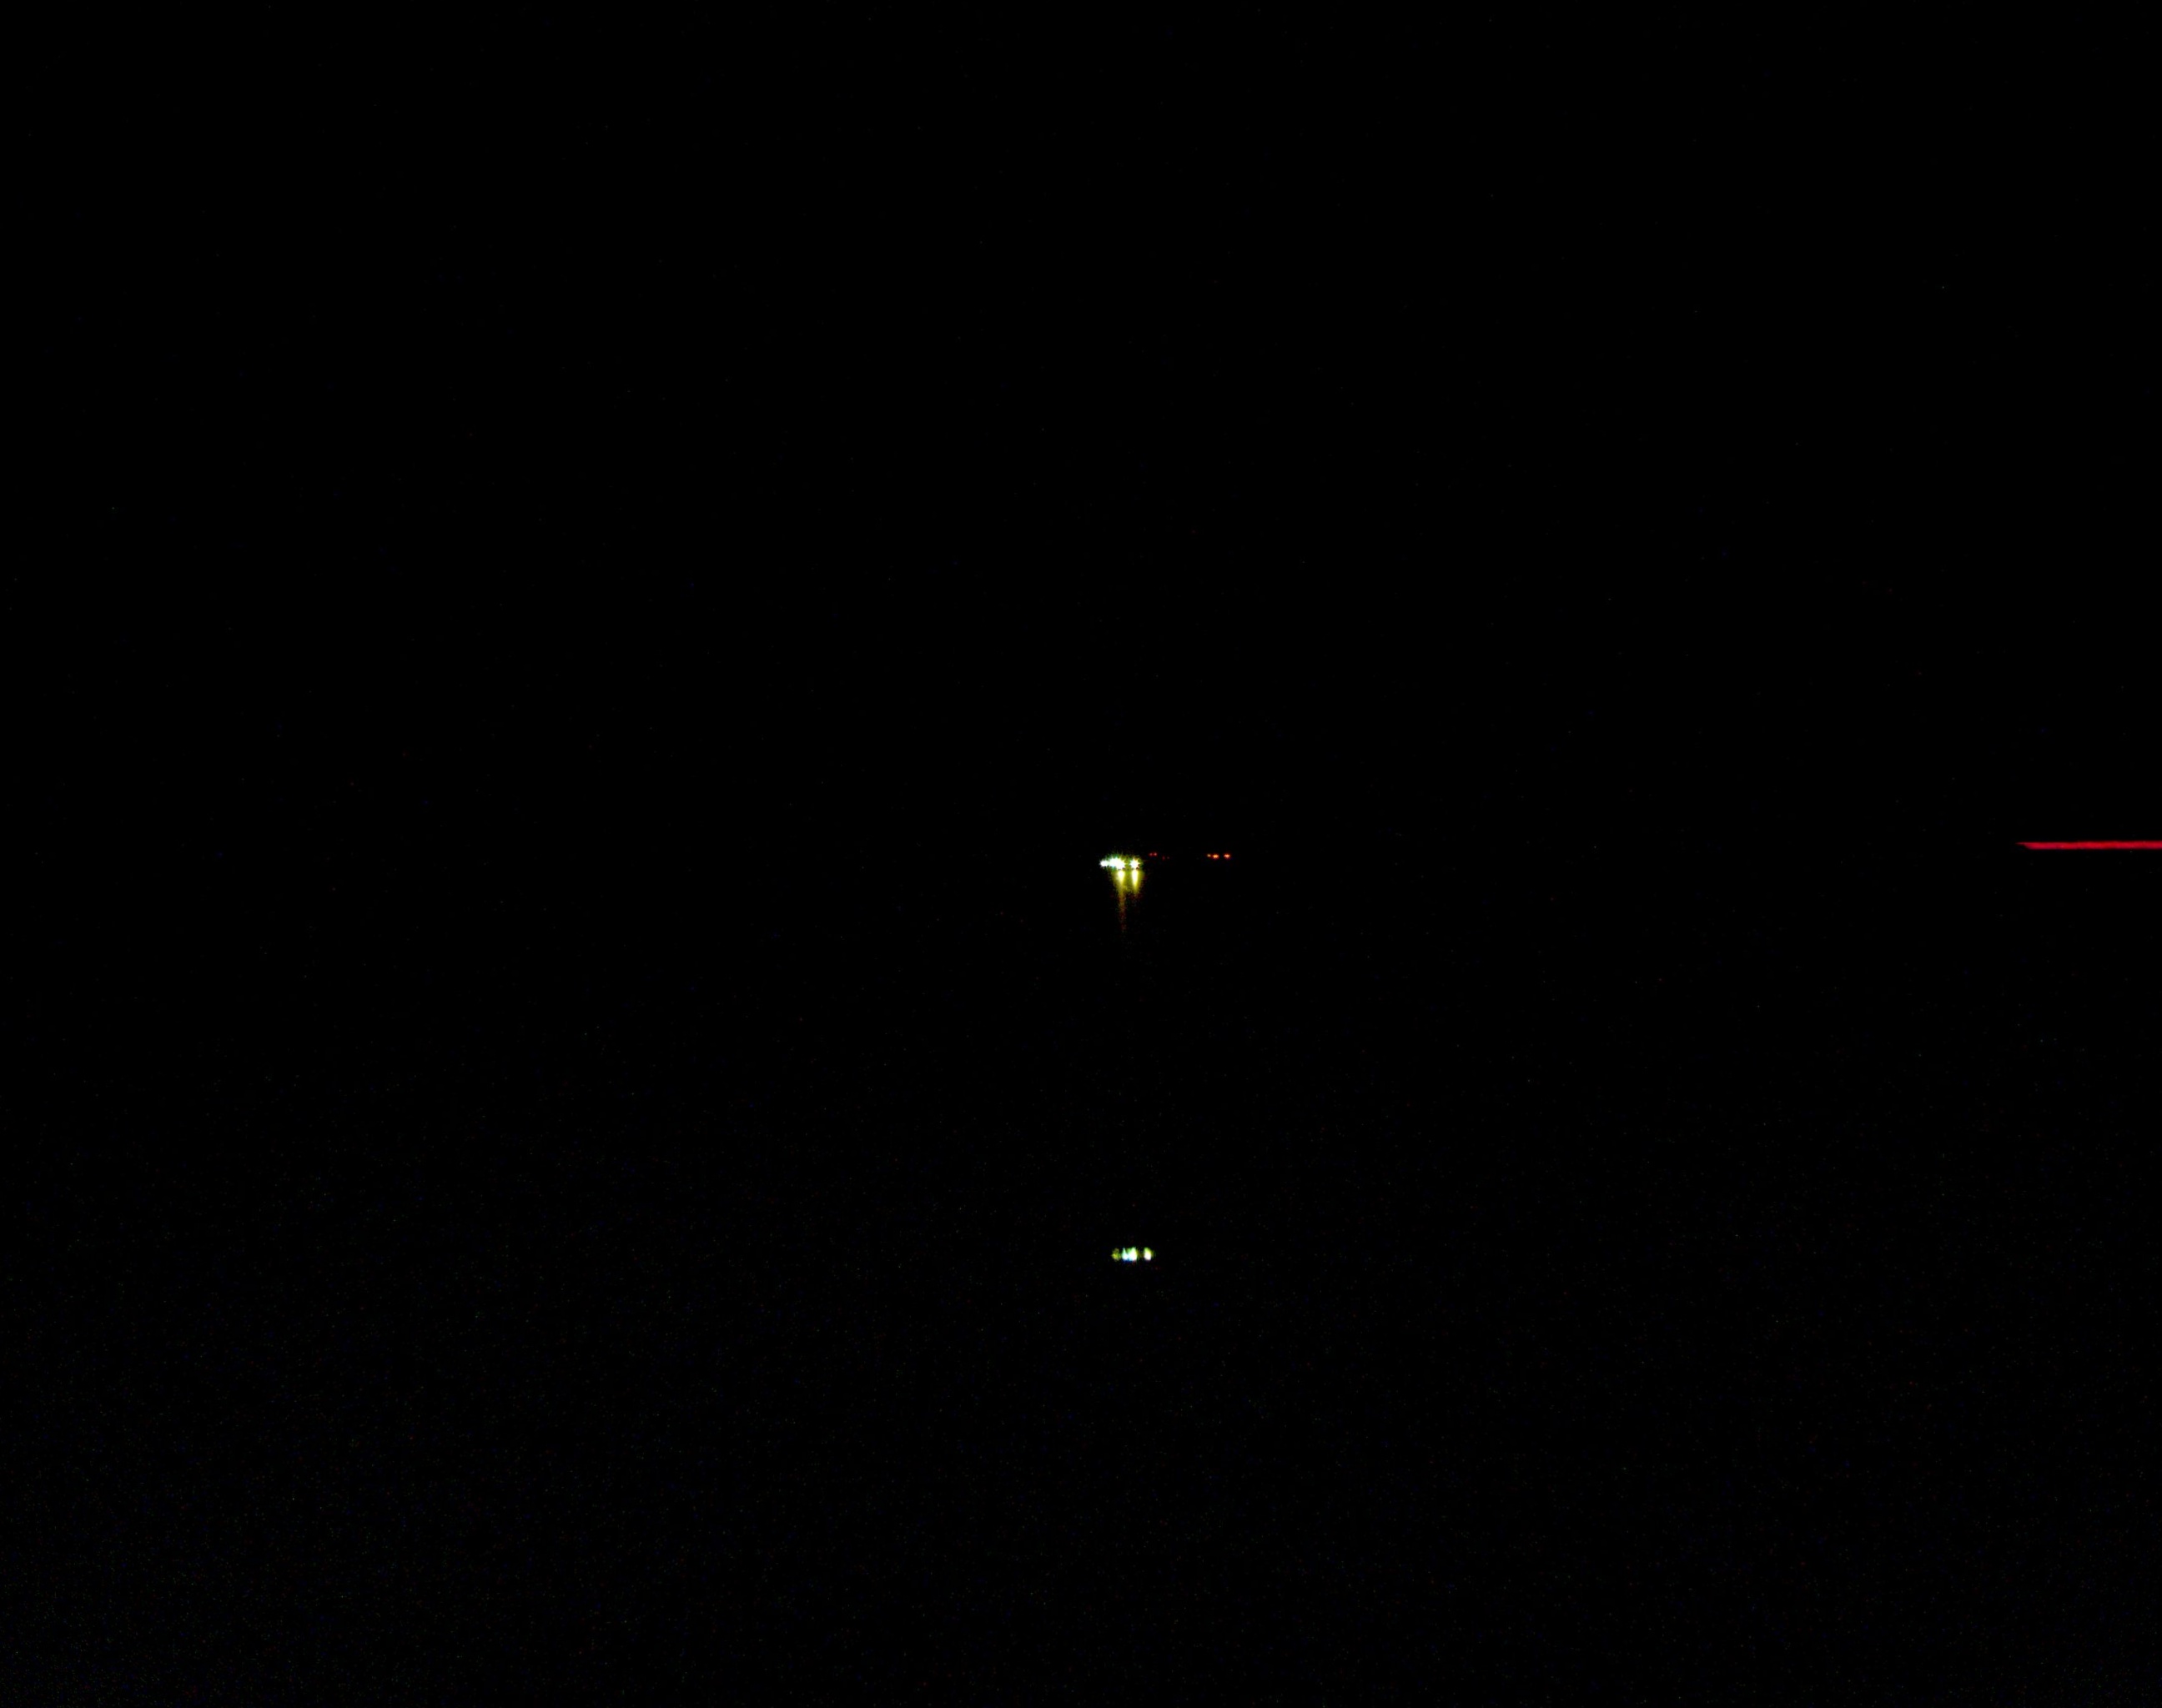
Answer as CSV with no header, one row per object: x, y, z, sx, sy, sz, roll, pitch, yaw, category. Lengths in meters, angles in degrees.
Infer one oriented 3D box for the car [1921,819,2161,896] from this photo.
22.239,0.036,17.164,1.999,1.500,3.999,-2,0,-2,car

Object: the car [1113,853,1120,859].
10.914,0.726,234.236,1.999,1.724,4.224,-3,-1,-1,car

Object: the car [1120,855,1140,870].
5.407,0.893,84.332,1.998,1.422,4.330,-5,0,3,car

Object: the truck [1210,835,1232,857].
25.658,-1.392,139.432,2.525,3.829,9.066,-2,0,3,truck
